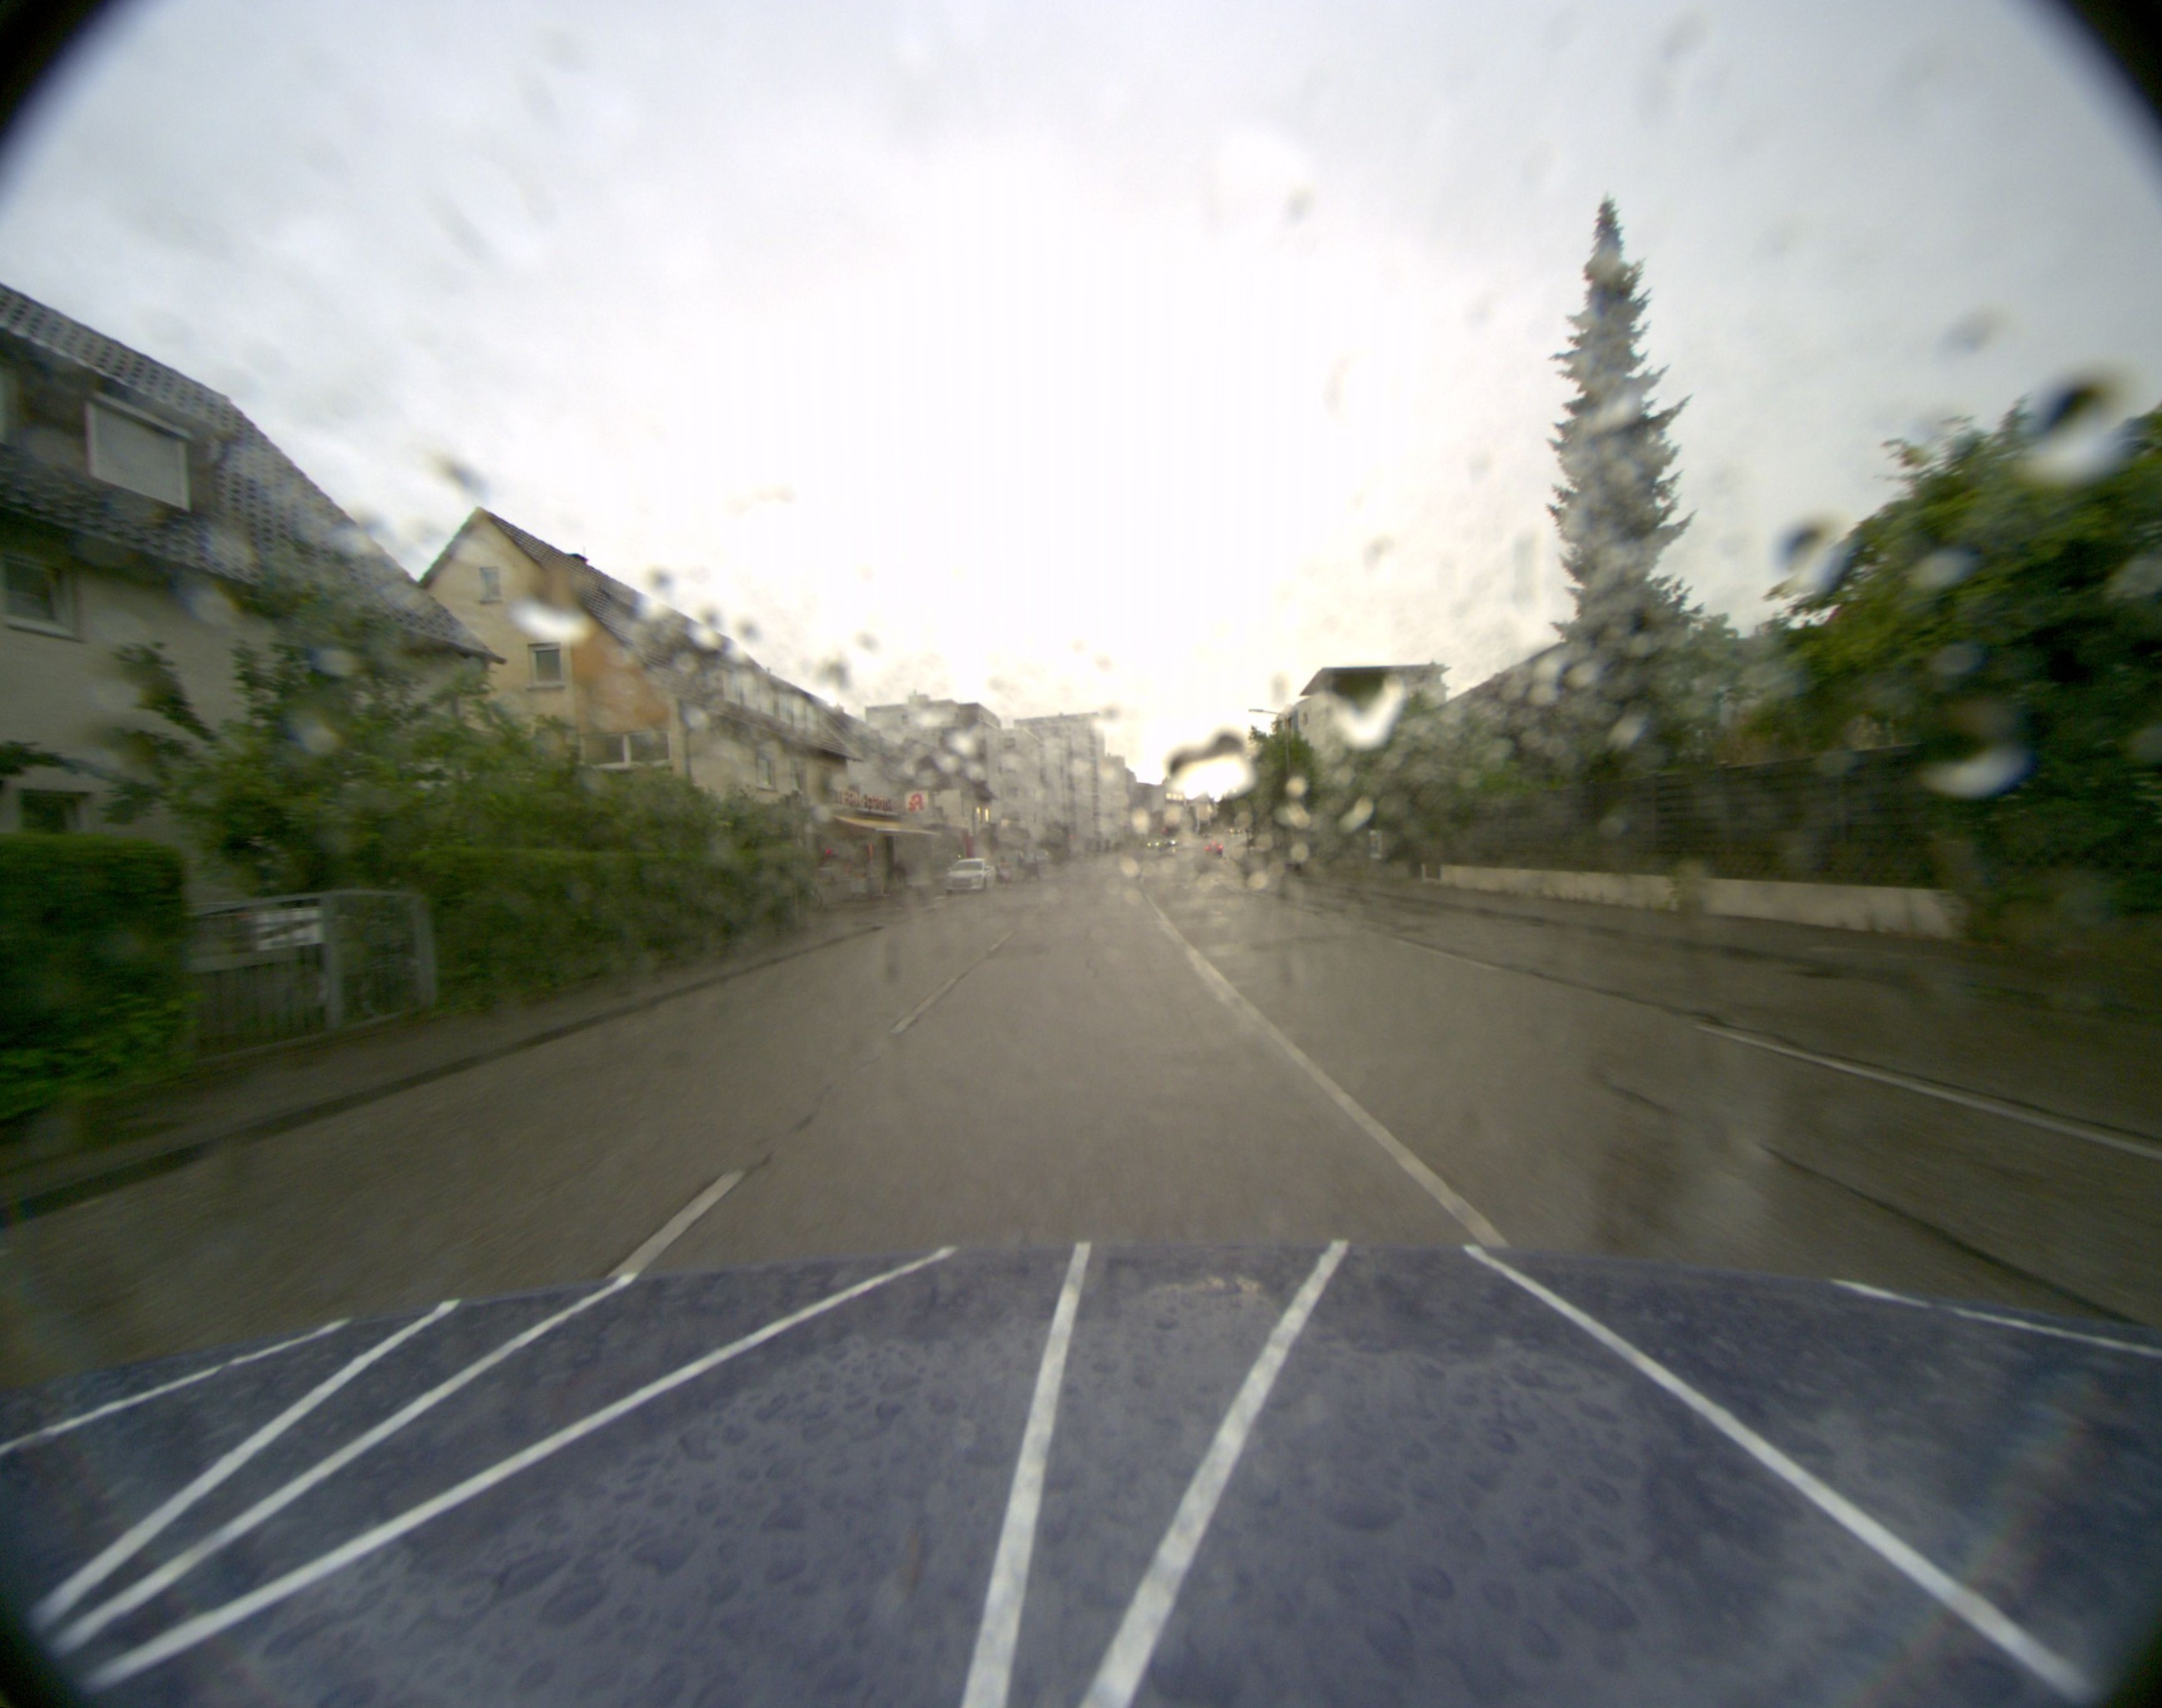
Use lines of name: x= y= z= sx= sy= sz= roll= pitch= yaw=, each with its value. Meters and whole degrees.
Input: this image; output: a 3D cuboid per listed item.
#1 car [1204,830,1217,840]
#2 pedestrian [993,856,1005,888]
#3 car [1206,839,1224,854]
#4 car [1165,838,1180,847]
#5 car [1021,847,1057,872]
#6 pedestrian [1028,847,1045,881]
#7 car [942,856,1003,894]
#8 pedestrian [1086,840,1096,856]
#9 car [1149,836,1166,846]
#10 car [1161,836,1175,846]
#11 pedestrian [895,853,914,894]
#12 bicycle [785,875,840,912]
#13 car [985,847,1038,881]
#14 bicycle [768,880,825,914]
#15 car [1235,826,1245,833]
car: x=30.527 y=-4.522 z=178.742 sx=1.996 sy=2.002 sz=4.004 roll=-7 pitch=1 yaw=20
pedestrian: x=-3.913 y=0.847 z=36.375 sx=0.446 sy=1.491 sz=0.464 roll=-3 pitch=1 yaw=4
car: x=14.321 y=-0.781 z=81.283 sx=1.778 sy=1.498 sz=4.106 roll=-1 pitch=2 yaw=11
car: x=16.993 y=-2.128 z=140.719 sx=1.896 sy=1.536 sz=4.024 roll=-4 pitch=1 yaw=17
car: x=-3.077 y=0.381 z=56.738 sx=1.879 sy=1.633 sz=4.793 roll=-1 pitch=2 yaw=6
pedestrian: x=-2.556 y=0.577 z=43.507 sx=0.622 sy=1.880 sz=0.648 roll=-2 pitch=2 yaw=40
car: x=-4.779 y=0.889 z=34.042 sx=1.819 sy=1.440 sz=4.204 roll=-1 pitch=1 yaw=5
pedestrian: x=1.100 y=-0.694 z=87.242 sx=0.667 sy=1.693 sz=0.948 roll=-3 pitch=2 yaw=28
car: x=12.759 y=-2.166 z=126.403 sx=1.739 sy=1.477 sz=4.153 roll=-3 pitch=1 yaw=19
car: x=15.298 y=-2.254 z=133.493 sx=1.752 sy=1.470 sz=4.003 roll=-4 pitch=1 yaw=15
pedestrian: x=-7.453 y=0.824 z=32.031 sx=0.552 sy=1.669 sz=0.515 roll=-4 pitch=2 yaw=-33
bicycle: x=-8.474 y=1.232 z=23.983 sx=1.647 sy=1.042 sz=0.623 roll=2 pitch=3 yaw=23
car: x=-3.869 y=0.533 z=43.395 sx=2.040 sy=1.686 sz=4.963 roll=-1 pitch=2 yaw=6
bicycle: x=-8.732 y=1.312 z=23.336 sx=1.647 sy=0.928 sz=0.623 roll=2 pitch=3 yaw=23
car: x=40.687 y=-6.244 z=194.491 sx=1.826 sy=1.677 sz=4.004 roll=-2 pitch=2 yaw=21
